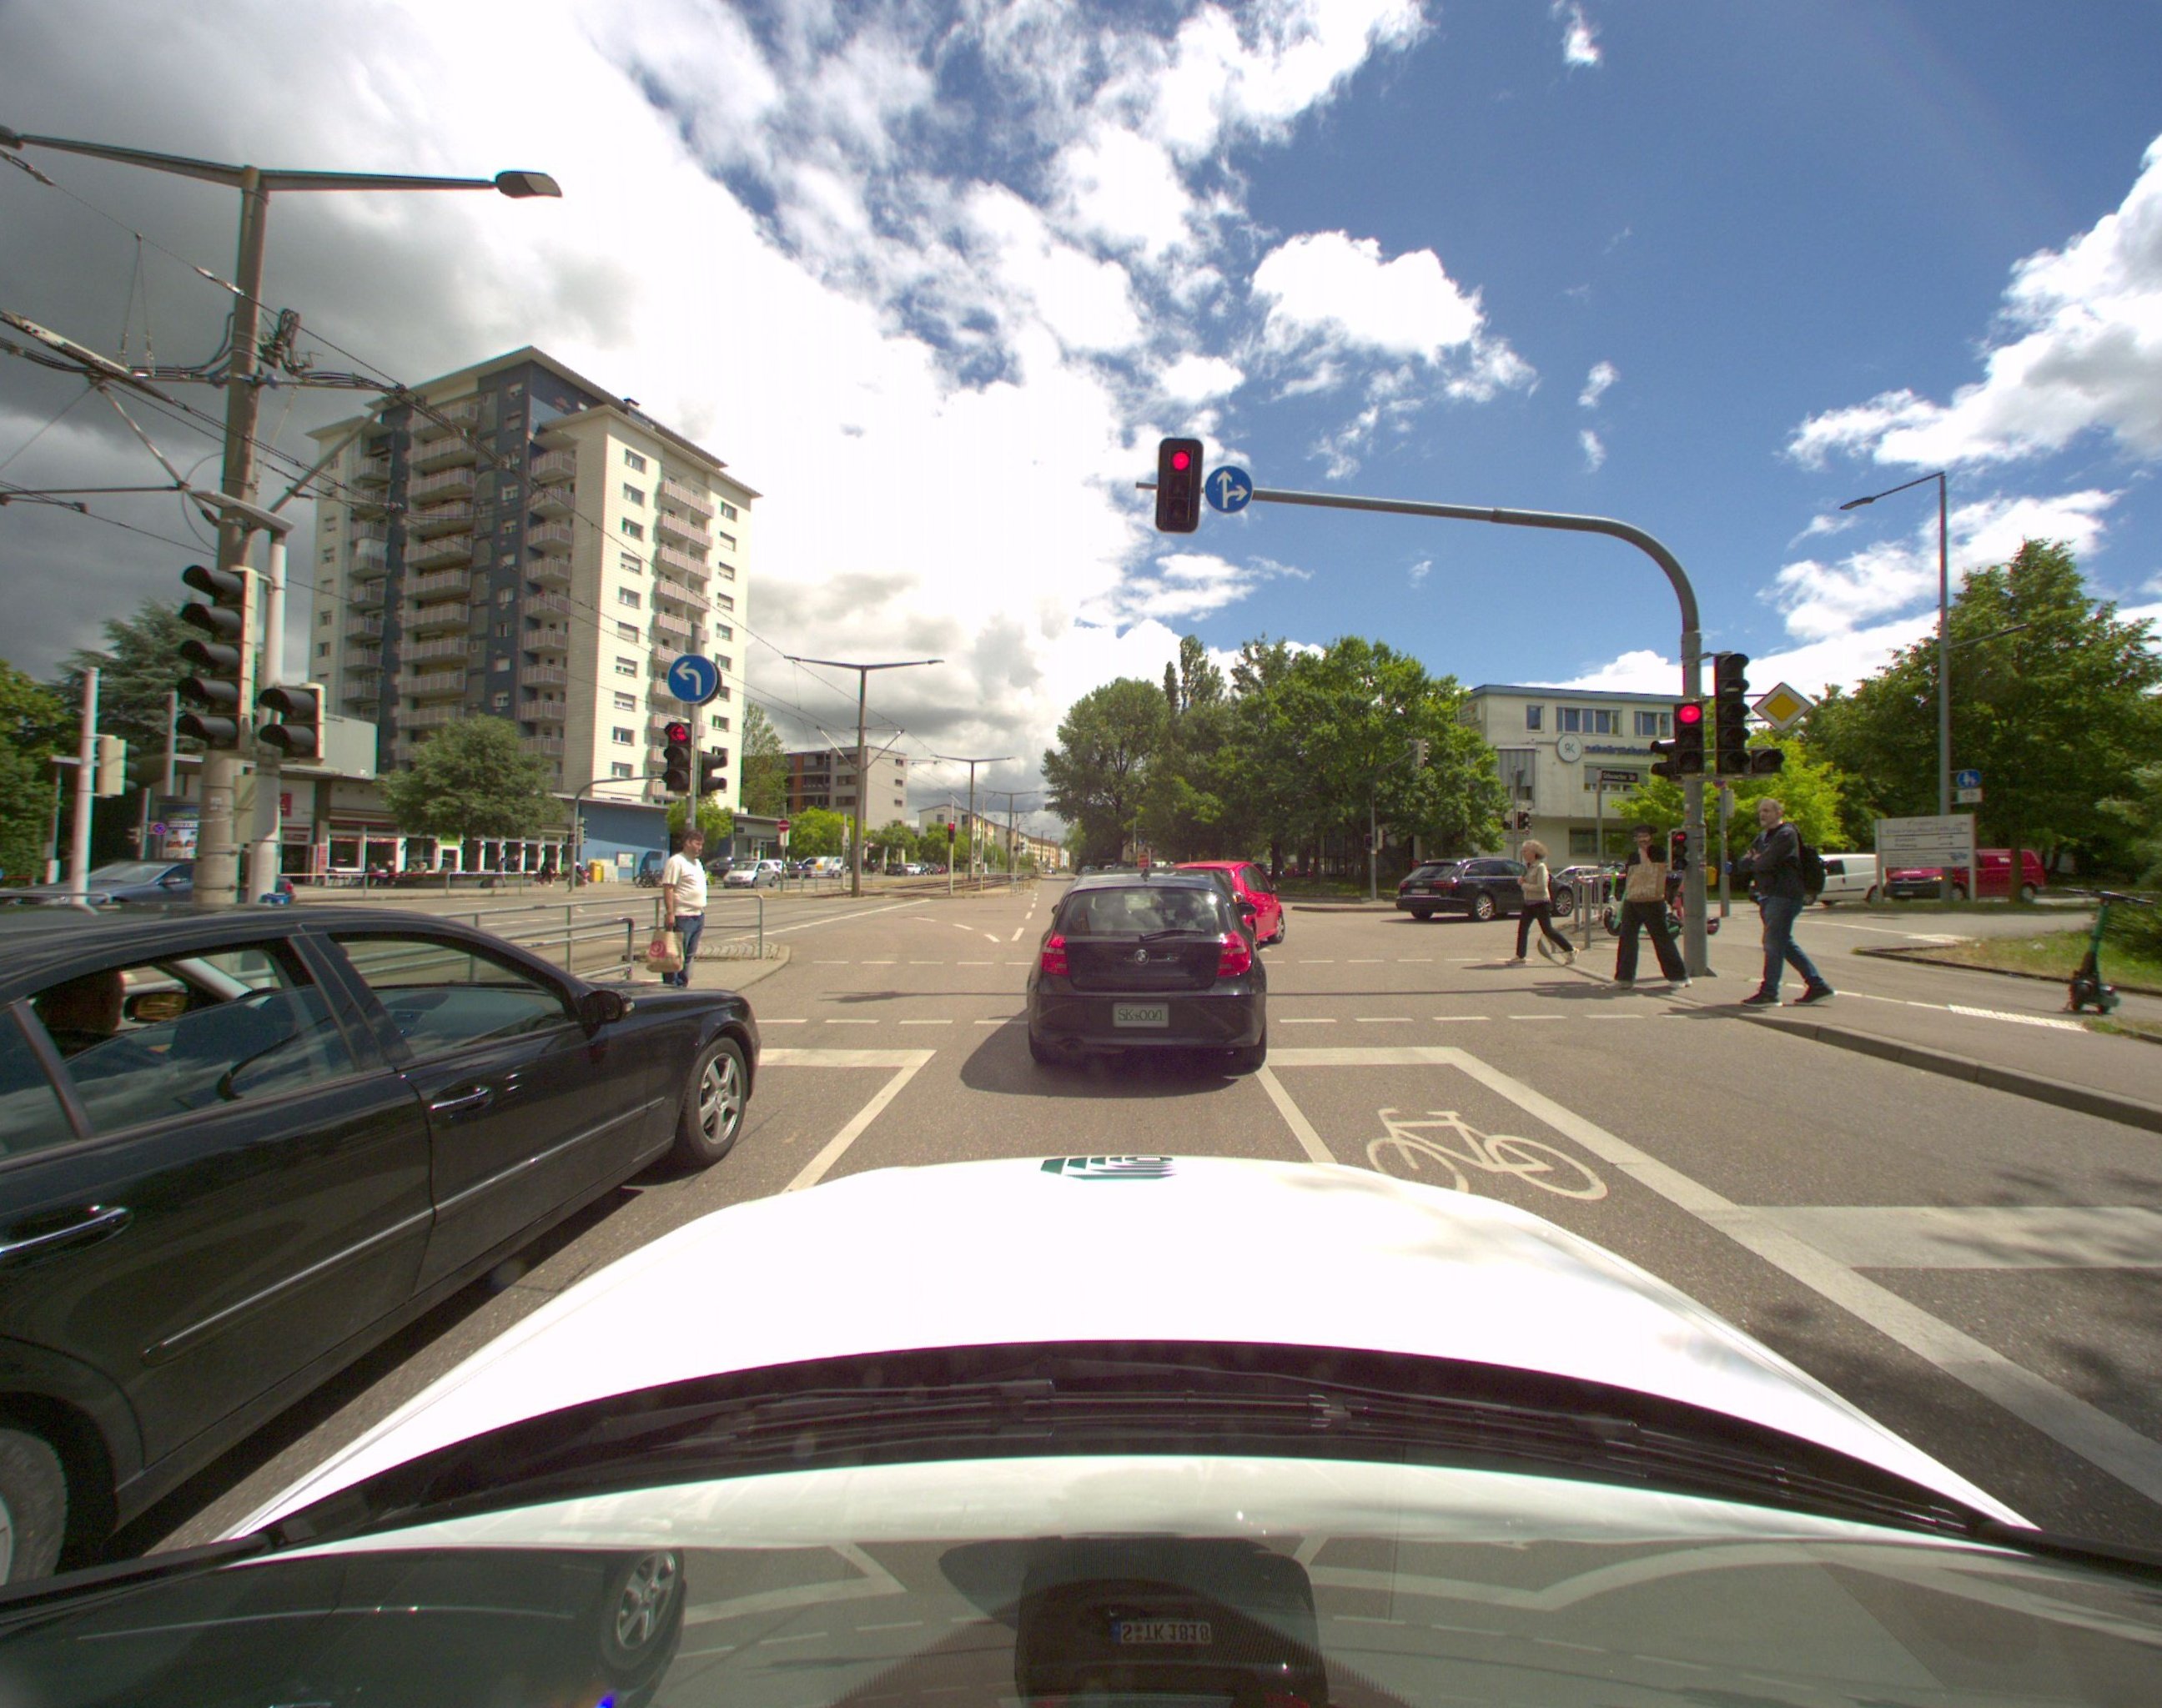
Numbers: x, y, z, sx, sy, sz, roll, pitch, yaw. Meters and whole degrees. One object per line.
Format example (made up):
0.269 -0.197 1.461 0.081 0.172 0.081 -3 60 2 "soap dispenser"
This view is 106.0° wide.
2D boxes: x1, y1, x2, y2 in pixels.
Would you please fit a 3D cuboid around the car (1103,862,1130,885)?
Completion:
2.711 1.447 61.763 1.986 1.684 4.001 0 -1 2 "car"

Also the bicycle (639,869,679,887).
-23.192 1.326 44.774 1.943 0.935 0.494 0 -1 -5 "bicycle"

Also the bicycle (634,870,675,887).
-23.169 1.322 44.268 1.943 0.935 0.494 0 -1 -5 "bicycle"

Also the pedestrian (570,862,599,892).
-27.948 1.306 45.861 0.943 1.659 1.098 -1 -1 -4 "pedestrian"

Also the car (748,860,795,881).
-24.538 1.285 64.486 4.165 1.538 1.973 0 0 45 "car"

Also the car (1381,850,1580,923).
9.524 0.695 19.357 4.532 1.554 1.982 0 -1 -28 "car"

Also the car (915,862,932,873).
-20.958 1.814 108.298 1.758 1.395 3.993 0 0 -5 "car"

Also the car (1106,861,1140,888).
2.778 1.354 54.308 2.144 1.684 4.001 0 -1 2 "car"

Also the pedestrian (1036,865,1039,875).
-7.017 2.562 132.239 0.477 1.637 0.454 0 -1 1 "pedestrian"

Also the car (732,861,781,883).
-24.409 1.356 61.167 4.165 1.570 1.973 0 0 45 "car"

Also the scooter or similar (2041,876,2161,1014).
10.625 0.932 8.486 1.247 1.275 0.709 6 -1 -38 "scooter or similar"

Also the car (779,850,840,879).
-24.324 0.917 72.740 2.848 2.478 6.642 0 0 -41 "car"

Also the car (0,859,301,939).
-18.739 0.813 16.454 1.630 1.399 4.492 0 -1 -1 "car"

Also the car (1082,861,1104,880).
1.191 1.563 77.183 1.986 1.684 4.002 0 0 2 "car"

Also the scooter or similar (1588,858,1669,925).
9.886 0.664 14.712 1.360 1.156 0.540 1 0 -23 "scooter or similar"

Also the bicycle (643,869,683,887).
-23.214 1.330 45.251 1.943 0.935 0.494 0 -1 -5 "bicycle"

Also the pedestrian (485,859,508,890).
-30.701 1.074 42.759 0.768 1.615 0.694 0 -1 -16 "pedestrian"

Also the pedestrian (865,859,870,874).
-24.558 1.439 93.540 0.547 1.716 0.404 0 -1 -8 "pedestrian"

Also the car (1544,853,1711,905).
18.685 0.824 27.971 4.551 1.717 1.996 0 0 -5 "car"

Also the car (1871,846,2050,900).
31.906 0.677 29.618 4.800 1.864 1.995 0 -2 -8 "car"

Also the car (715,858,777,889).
-19.579 1.111 47.812 1.930 1.693 3.874 0 0 2 "car"

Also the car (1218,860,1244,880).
14.089 1.520 76.620 1.626 1.811 4.030 0 0 -1 "car"

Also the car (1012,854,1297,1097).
0.520 0.746 6.999 1.746 1.487 4.002 0 0 2 "car"

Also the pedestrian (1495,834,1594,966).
6.130 0.592 10.831 0.945 1.674 0.874 -1 -1 17 "pedestrian"

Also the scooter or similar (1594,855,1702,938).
8.978 0.654 12.927 1.336 1.277 0.463 0 1 8 "scooter or similar"

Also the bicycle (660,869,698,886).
-23.147 1.344 46.894 1.943 0.935 0.494 0 -1 -5 "bicycle"

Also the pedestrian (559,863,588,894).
-27.837 1.324 44.690 0.943 1.659 1.098 -1 -1 -4 "pedestrian"

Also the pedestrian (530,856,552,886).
-29.956 0.943 45.191 0.767 1.615 0.695 0 -1 -12 "pedestrian"

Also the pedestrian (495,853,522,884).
-35.253 0.895 50.165 0.863 1.917 1.212 0 0 -5 "pedestrian"

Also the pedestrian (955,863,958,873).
-20.714 2.315 135.703 0.451 1.637 0.480 0 -1 -1 "pedestrian"

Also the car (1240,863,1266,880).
16.302 1.638 77.372 1.626 1.573 4.030 0 0 -1 "car"

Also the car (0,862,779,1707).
-2.713 0.771 2.503 1.721 1.461 4.546 0 0 2 "car"

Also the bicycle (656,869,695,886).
-23.120 1.340 46.403 1.943 0.935 0.494 0 -1 -5 "bicycle"

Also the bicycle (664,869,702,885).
-23.178 1.349 47.400 1.943 0.935 0.494 0 -1 -5 "bicycle"

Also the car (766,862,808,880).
-24.526 1.363 67.803 1.800 1.420 4.166 0 0 -43 "car"

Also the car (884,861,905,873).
-21.553 1.489 94.196 1.758 1.395 3.993 0 0 -5 "car"

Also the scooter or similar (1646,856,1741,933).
10.367 0.684 13.798 1.225 1.240 0.555 2 0 -7 "scooter or similar"

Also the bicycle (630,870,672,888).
-23.134 1.317 43.788 1.943 0.935 0.494 0 -1 -5 "bicycle"

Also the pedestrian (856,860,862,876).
-23.058 1.432 84.500 0.547 1.716 0.667 0 -1 -8 "pedestrian"

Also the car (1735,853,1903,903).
26.256 0.826 29.054 4.555 1.717 1.995 0 0 -8 "car"

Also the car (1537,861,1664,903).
20.460 1.076 32.149 3.906 1.555 1.994 0 0 -9 "car"

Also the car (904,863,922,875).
-20.976 1.848 101.727 1.758 1.395 3.993 0 0 -5 "car"

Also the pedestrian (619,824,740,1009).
-4.086 0.607 8.345 0.866 1.808 0.741 0 0 -2 "pedestrian"

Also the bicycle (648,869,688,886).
-23.199 1.335 45.797 1.943 0.935 0.494 0 -1 -5 "bicycle"

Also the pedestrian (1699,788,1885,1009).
6.614 0.390 7.629 0.963 1.942 0.896 0 0 -3 "pedestrian"

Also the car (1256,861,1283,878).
18.172 1.469 78.693 1.626 1.595 3.998 0 0 -1 "car"

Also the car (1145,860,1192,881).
8.138 1.506 75.698 4.001 1.823 1.766 0 0 -21 "car"

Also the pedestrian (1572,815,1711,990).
5.985 0.489 8.733 0.933 1.765 0.770 -1 0 -10 "pedestrian"

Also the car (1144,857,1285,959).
2.294 0.770 13.350 1.528 1.441 3.214 0 0 24 "car"

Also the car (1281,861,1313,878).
20.952 1.521 79.035 1.728 1.595 3.992 0 0 -5 "car"
